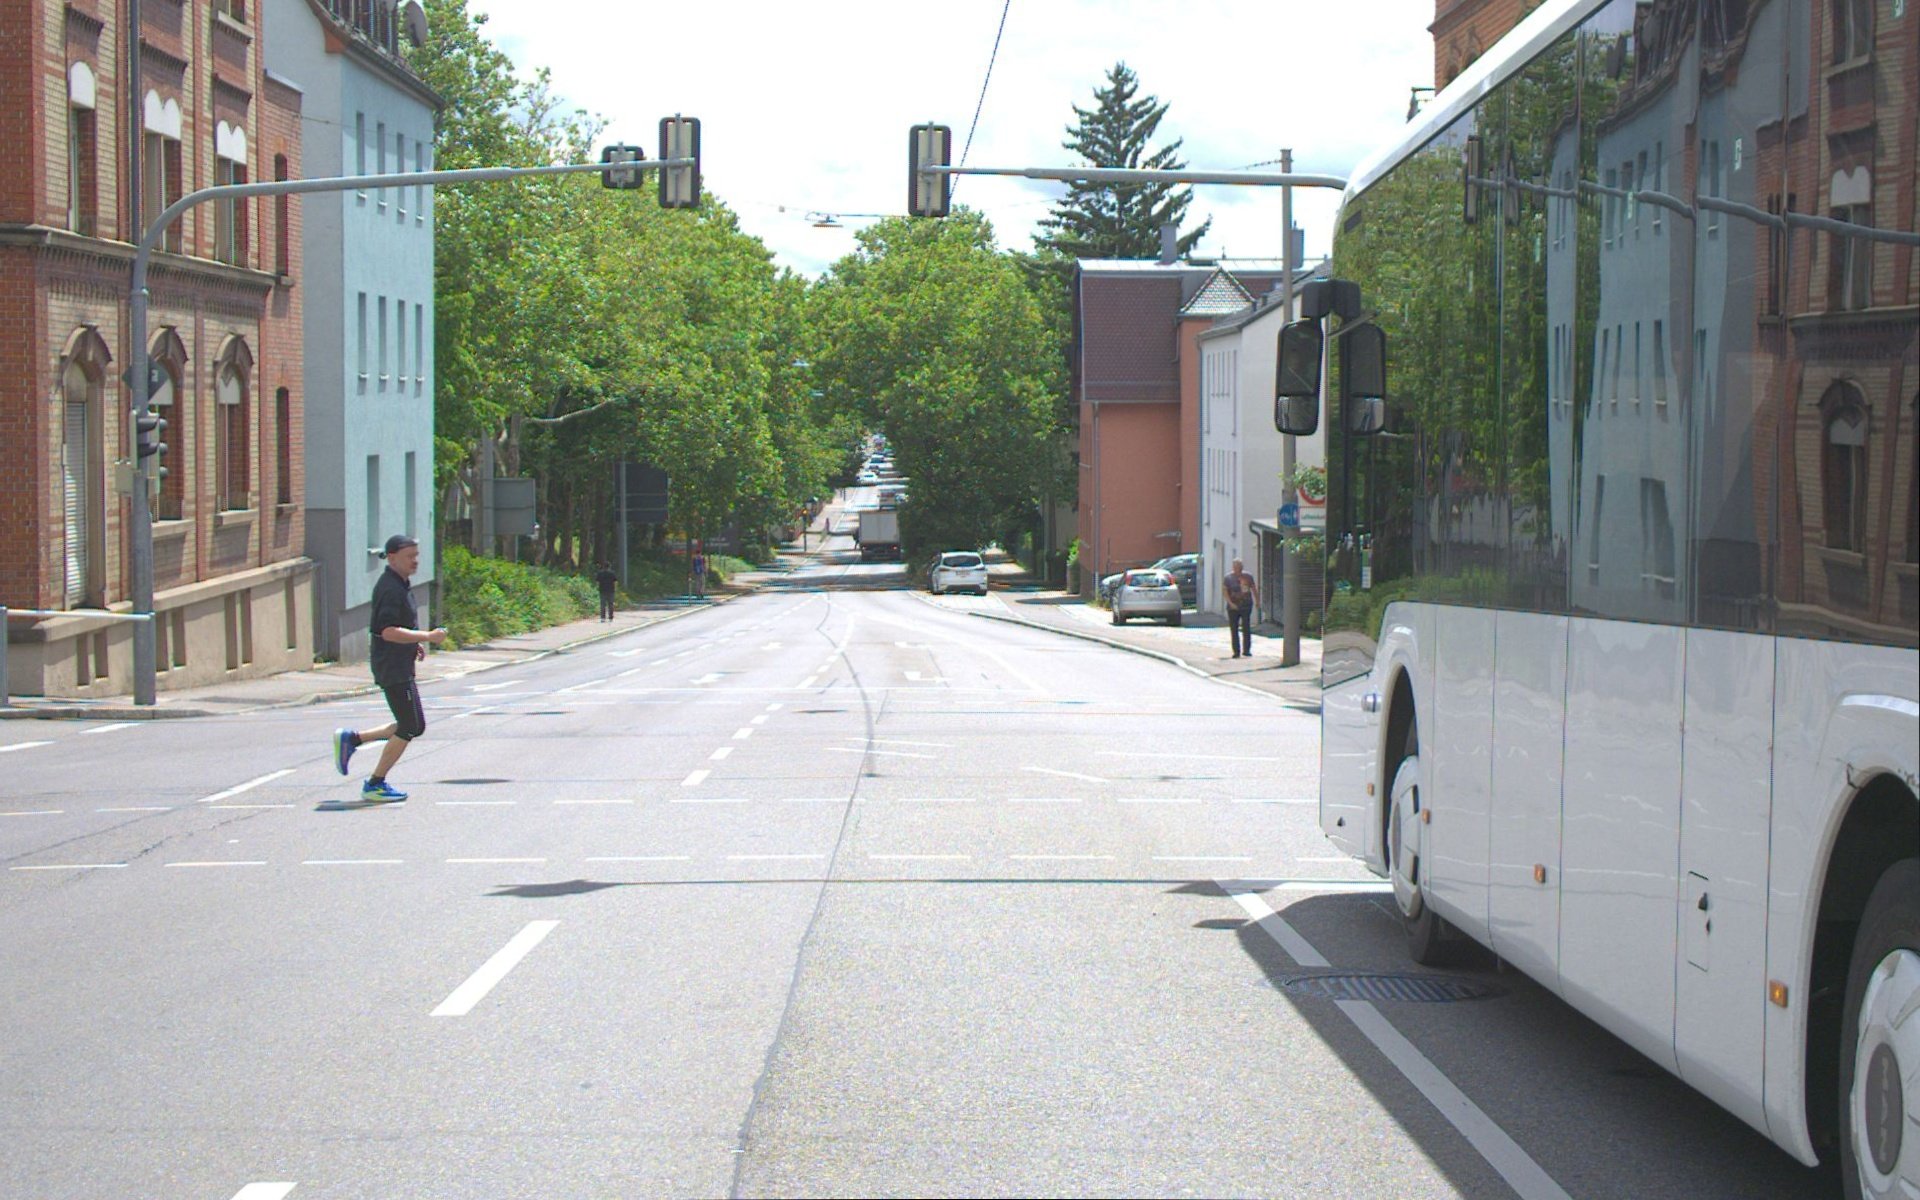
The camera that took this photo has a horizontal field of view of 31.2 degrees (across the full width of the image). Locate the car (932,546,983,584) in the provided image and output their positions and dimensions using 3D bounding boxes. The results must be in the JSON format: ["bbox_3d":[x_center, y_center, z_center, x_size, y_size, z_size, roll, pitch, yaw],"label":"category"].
[{"bbox_3d":[-0.096,-1.329,129.429,1.794,1.405,4.000,1,1,-2],"label":"car"}]

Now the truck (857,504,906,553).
[{"bbox_3d":[-5.112,-4.647,222.407,2.926,3.070,7.886,-1,1,-3],"label":"truck"}]

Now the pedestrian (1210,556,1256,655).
[{"bbox_3d":[4.890,0.093,61.616,0.738,1.744,0.619,-1,1,-1],"label":"pedestrian"}]

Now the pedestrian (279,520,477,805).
[{"bbox_3d":[-3.601,0.376,21.350,1.140,1.728,0.759,0,1,-5],"label":"pedestrian"}]

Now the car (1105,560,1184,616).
[{"bbox_3d":[4.977,-0.349,93.070,1.794,1.405,4.001,-1,1,-2],"label":"car"}]

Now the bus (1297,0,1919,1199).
[{"bbox_3d":[2.924,-0.233,9.281,2.672,3.145,12.462,-1,1,0],"label":"bus"}]

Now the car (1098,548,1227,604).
[{"bbox_3d":[6.652,-0.802,113.169,3.986,1.751,2.000,-1,1,-5],"label":"car"}]

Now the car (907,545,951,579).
[{"bbox_3d":[-1.295,-1.608,145.824,1.794,1.405,4.419,1,1,0],"label":"car"}]

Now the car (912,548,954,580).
[{"bbox_3d":[-1.194,-1.618,154.321,1.794,1.405,4.419,1,1,0],"label":"car"}]

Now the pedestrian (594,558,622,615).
[{"bbox_3d":[-9.698,-0.360,94.650,0.729,1.560,0.561,0,1,-1],"label":"pedestrian"}]

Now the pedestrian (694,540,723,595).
[{"bbox_3d":[-9.210,-1.183,125.999,0.995,2.007,1.189,-1,1,-1],"label":"pedestrian"}]
